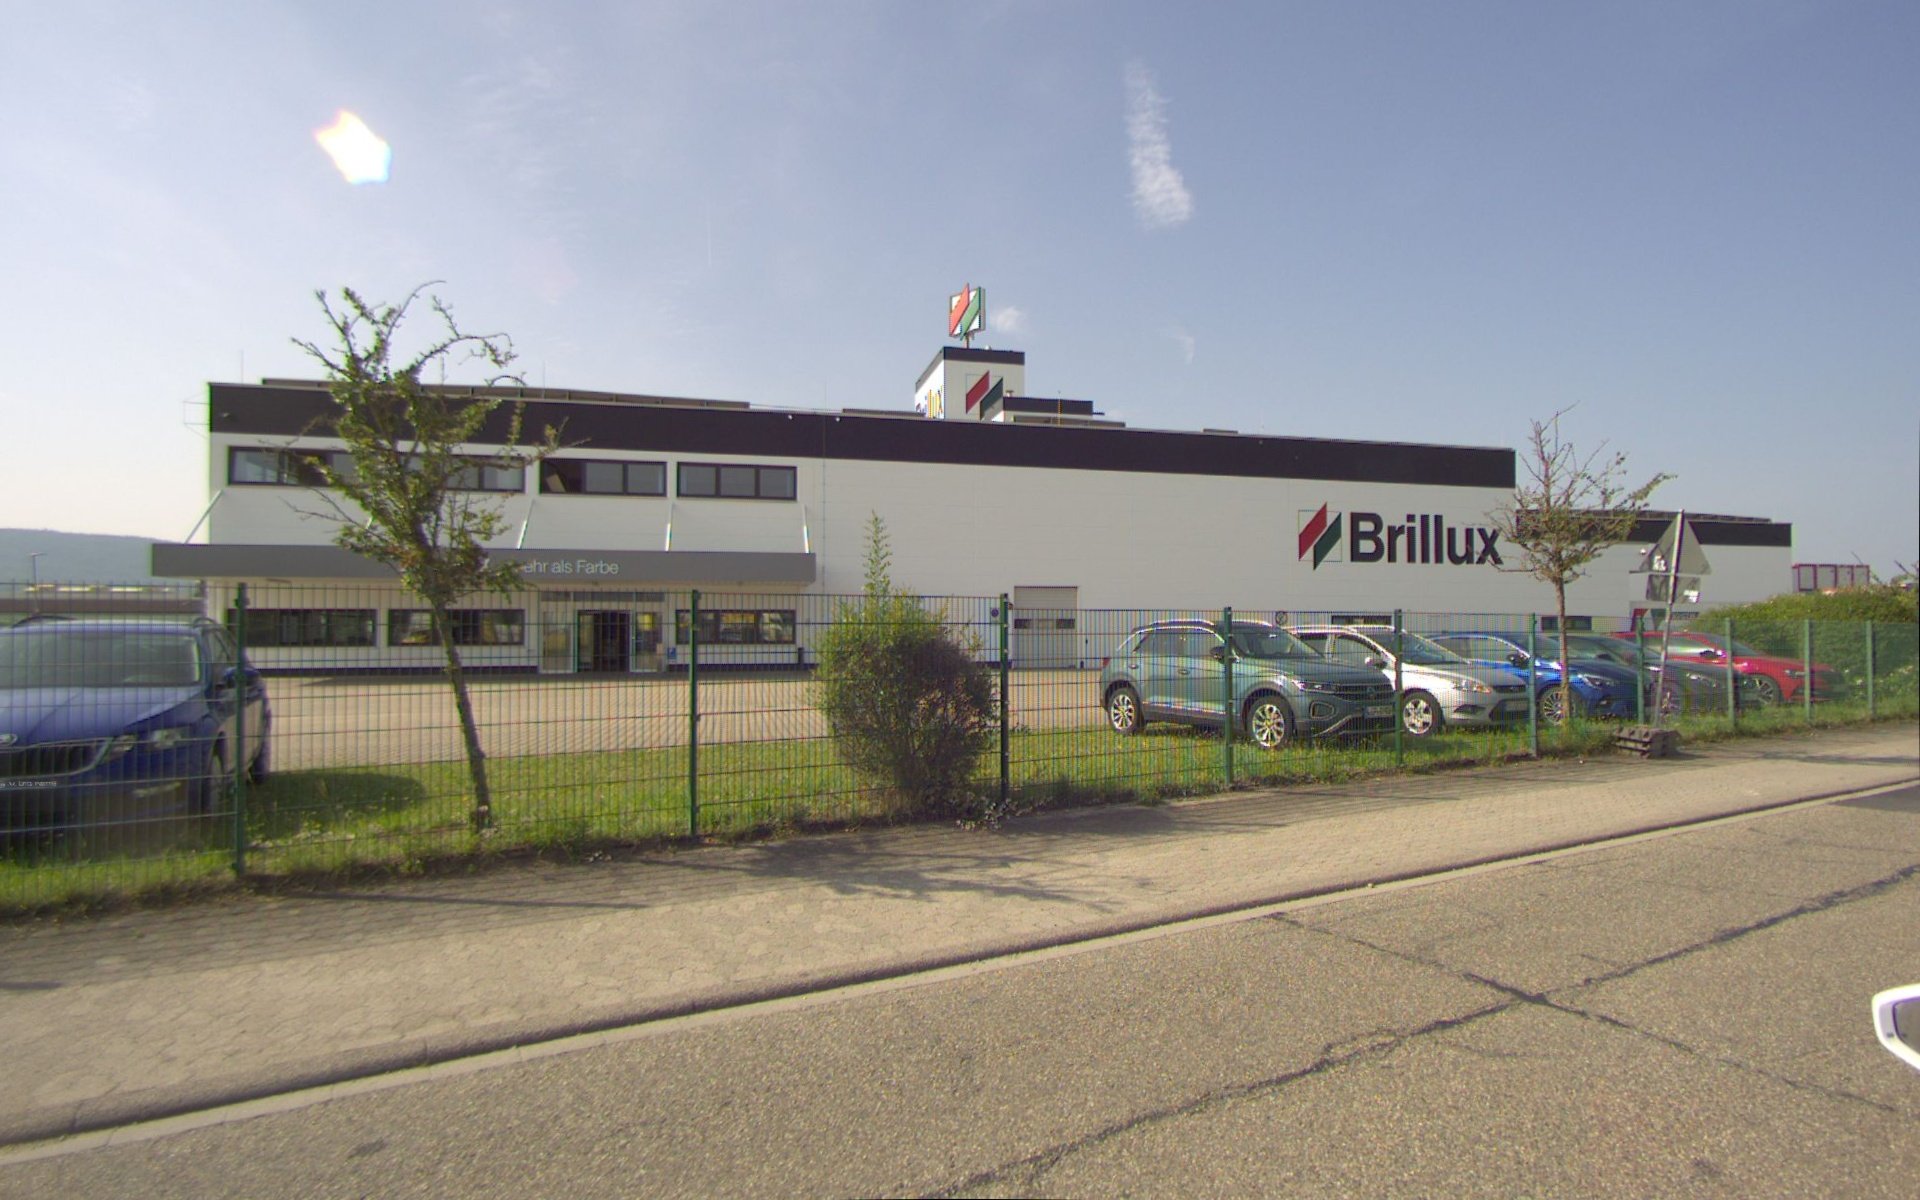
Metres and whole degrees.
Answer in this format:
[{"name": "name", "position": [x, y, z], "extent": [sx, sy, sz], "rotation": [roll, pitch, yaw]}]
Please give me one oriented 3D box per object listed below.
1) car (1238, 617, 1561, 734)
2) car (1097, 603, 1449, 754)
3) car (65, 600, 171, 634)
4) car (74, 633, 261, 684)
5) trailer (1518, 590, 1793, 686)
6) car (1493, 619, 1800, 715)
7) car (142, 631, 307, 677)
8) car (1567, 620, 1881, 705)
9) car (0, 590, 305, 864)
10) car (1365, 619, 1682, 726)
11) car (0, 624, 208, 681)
[{"name": "car", "position": [6.236, 1.065, 14.723], "extent": [1.852, 1.463, 4.022], "rotation": [1, -4, -30]}, {"name": "car", "position": [3.753, 0.950, 12.796], "extent": [1.843, 1.588, 4.108], "rotation": [1, -4, -30]}, {"name": "car", "position": [-43.854, 0.911, 52.419], "extent": [3.953, 1.728, 1.777], "rotation": [1, -2, -30]}, {"name": "car", "position": [-28.343, 2.081, 36.194], "extent": [5.004, 1.724, 1.984], "rotation": [1, -3, -31]}, {"name": "trailer", "position": [33.340, 1.849, 48.062], "extent": [13.656, 4.095, 2.482], "rotation": [2, 0, -15]}, {"name": "car", "position": [11.826, 1.147, 17.592], "extent": [1.852, 1.463, 4.022], "rotation": [1, -4, -30]}, {"name": "car", "position": [-28.775, 2.116, 39.531], "extent": [5.004, 1.724, 1.984], "rotation": [1, -3, -31]}, {"name": "car", "position": [14.842, 1.216, 19.821], "extent": [1.929, 1.463, 4.516], "rotation": [1, -4, -30]}, {"name": "car", "position": [-6.229, 0.806, 7.431], "extent": [2.054, 1.463, 4.664], "rotation": [1, -4, -30]}, {"name": "car", "position": [8.806, 1.128, 16.065], "extent": [1.852, 1.463, 4.022], "rotation": [1, -4, -30]}, {"name": "car", "position": [-28.033, 1.719, 33.121], "extent": [5.008, 1.724, 1.982], "rotation": [2, -3, -33]}]
